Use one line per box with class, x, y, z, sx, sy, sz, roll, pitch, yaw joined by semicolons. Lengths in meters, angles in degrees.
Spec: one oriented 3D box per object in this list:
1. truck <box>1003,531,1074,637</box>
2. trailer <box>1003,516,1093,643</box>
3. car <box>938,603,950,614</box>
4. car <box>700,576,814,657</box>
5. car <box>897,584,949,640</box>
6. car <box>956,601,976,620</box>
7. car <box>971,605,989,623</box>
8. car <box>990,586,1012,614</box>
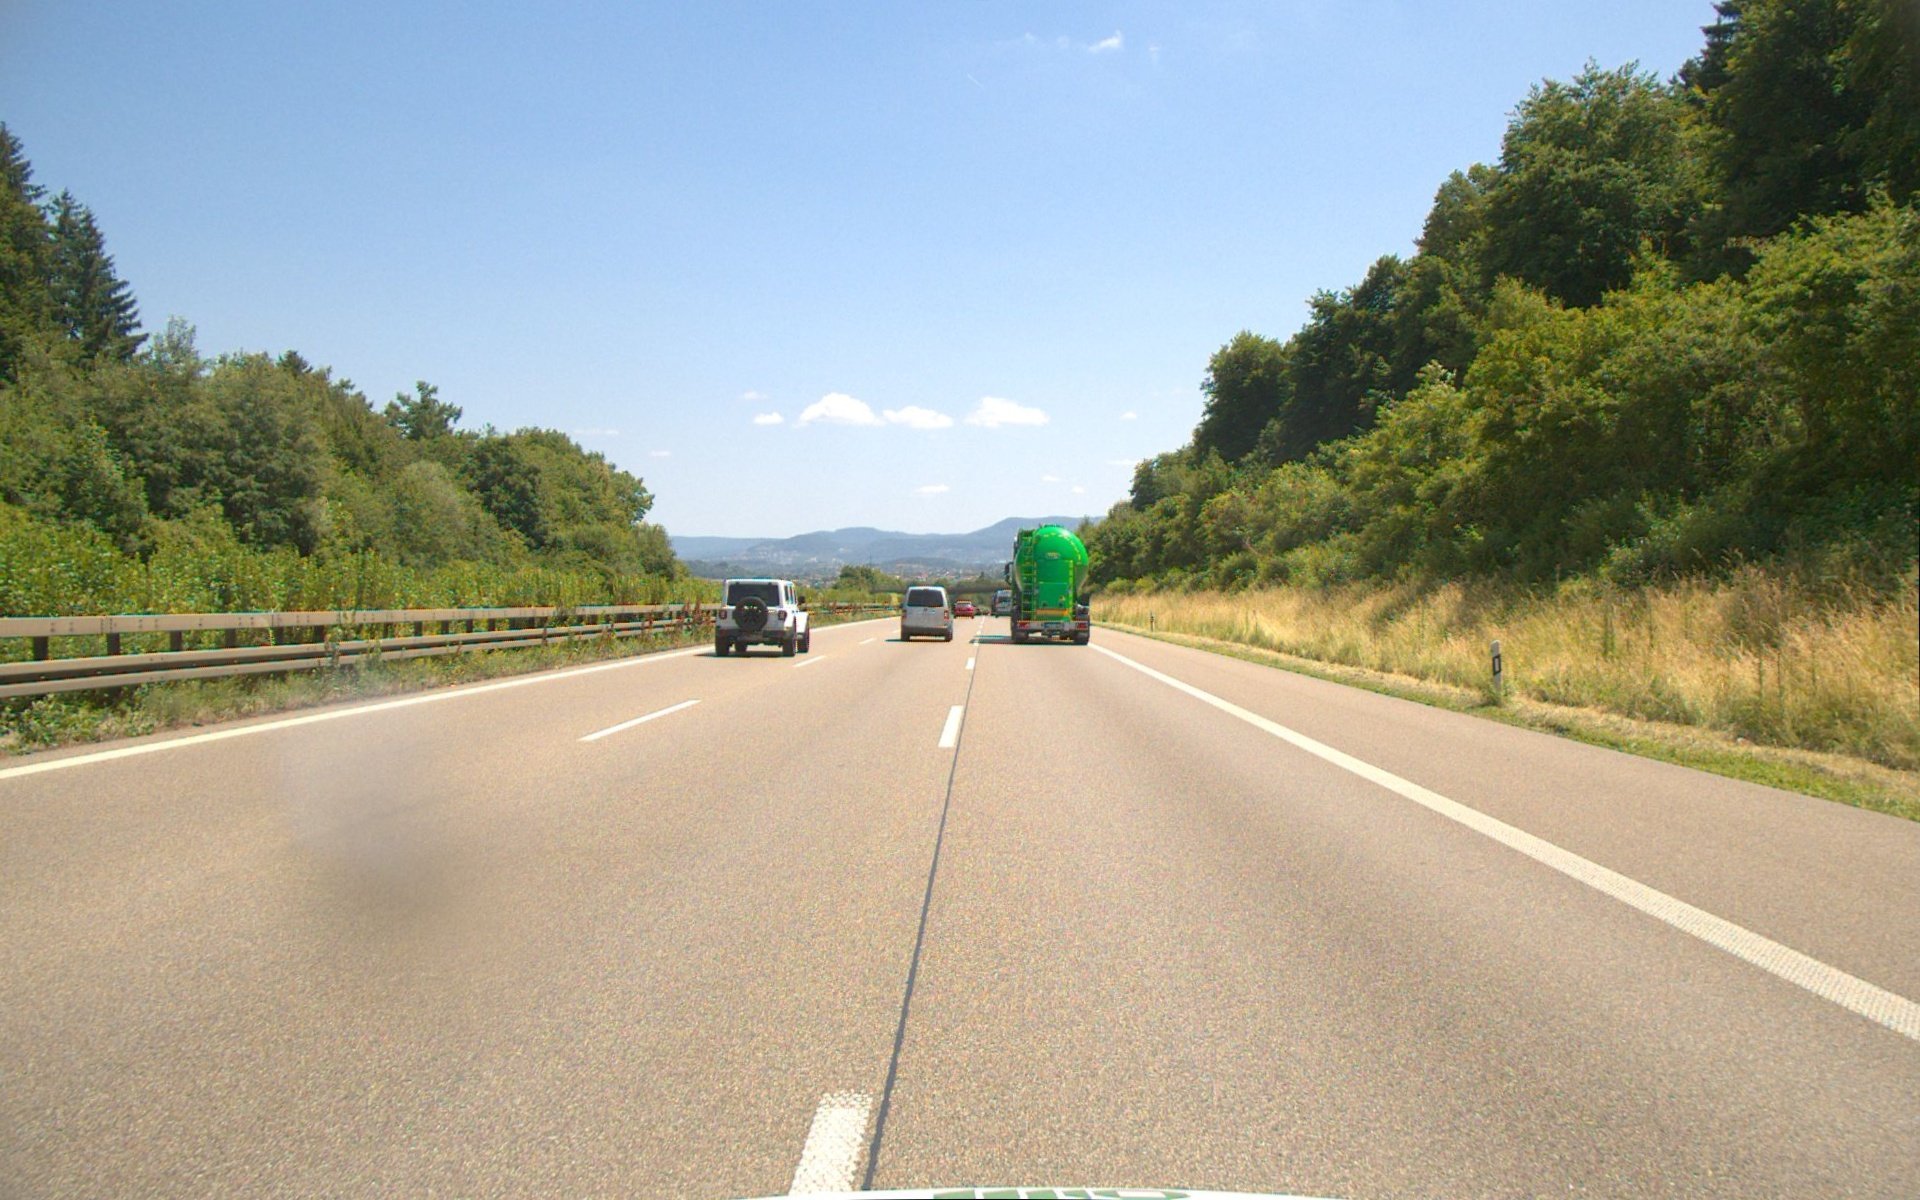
truck;2.996;-0.604;64.410;2.458;3.909;4.892;1;0;0
trailer;3.017;-0.692;59.157;2.534;4.098;10.469;1;0;0
car;-2.092;1.098;213.025;1.372;1.420;3.213;1;0;2
car;-4.977;0.392;41.196;2.040;1.861;4.755;1;0;2
car;-1.265;0.397;57.573;1.710;1.861;4.800;1;0;-1
car;0.521;0.909;140.911;1.416;1.578;3.358;1;0;4
car;2.233;1.599;185.909;1.744;1.914;4.002;1;0;4
car;3.920;-0.003;157.988;2.046;2.621;6.623;1;0;2
